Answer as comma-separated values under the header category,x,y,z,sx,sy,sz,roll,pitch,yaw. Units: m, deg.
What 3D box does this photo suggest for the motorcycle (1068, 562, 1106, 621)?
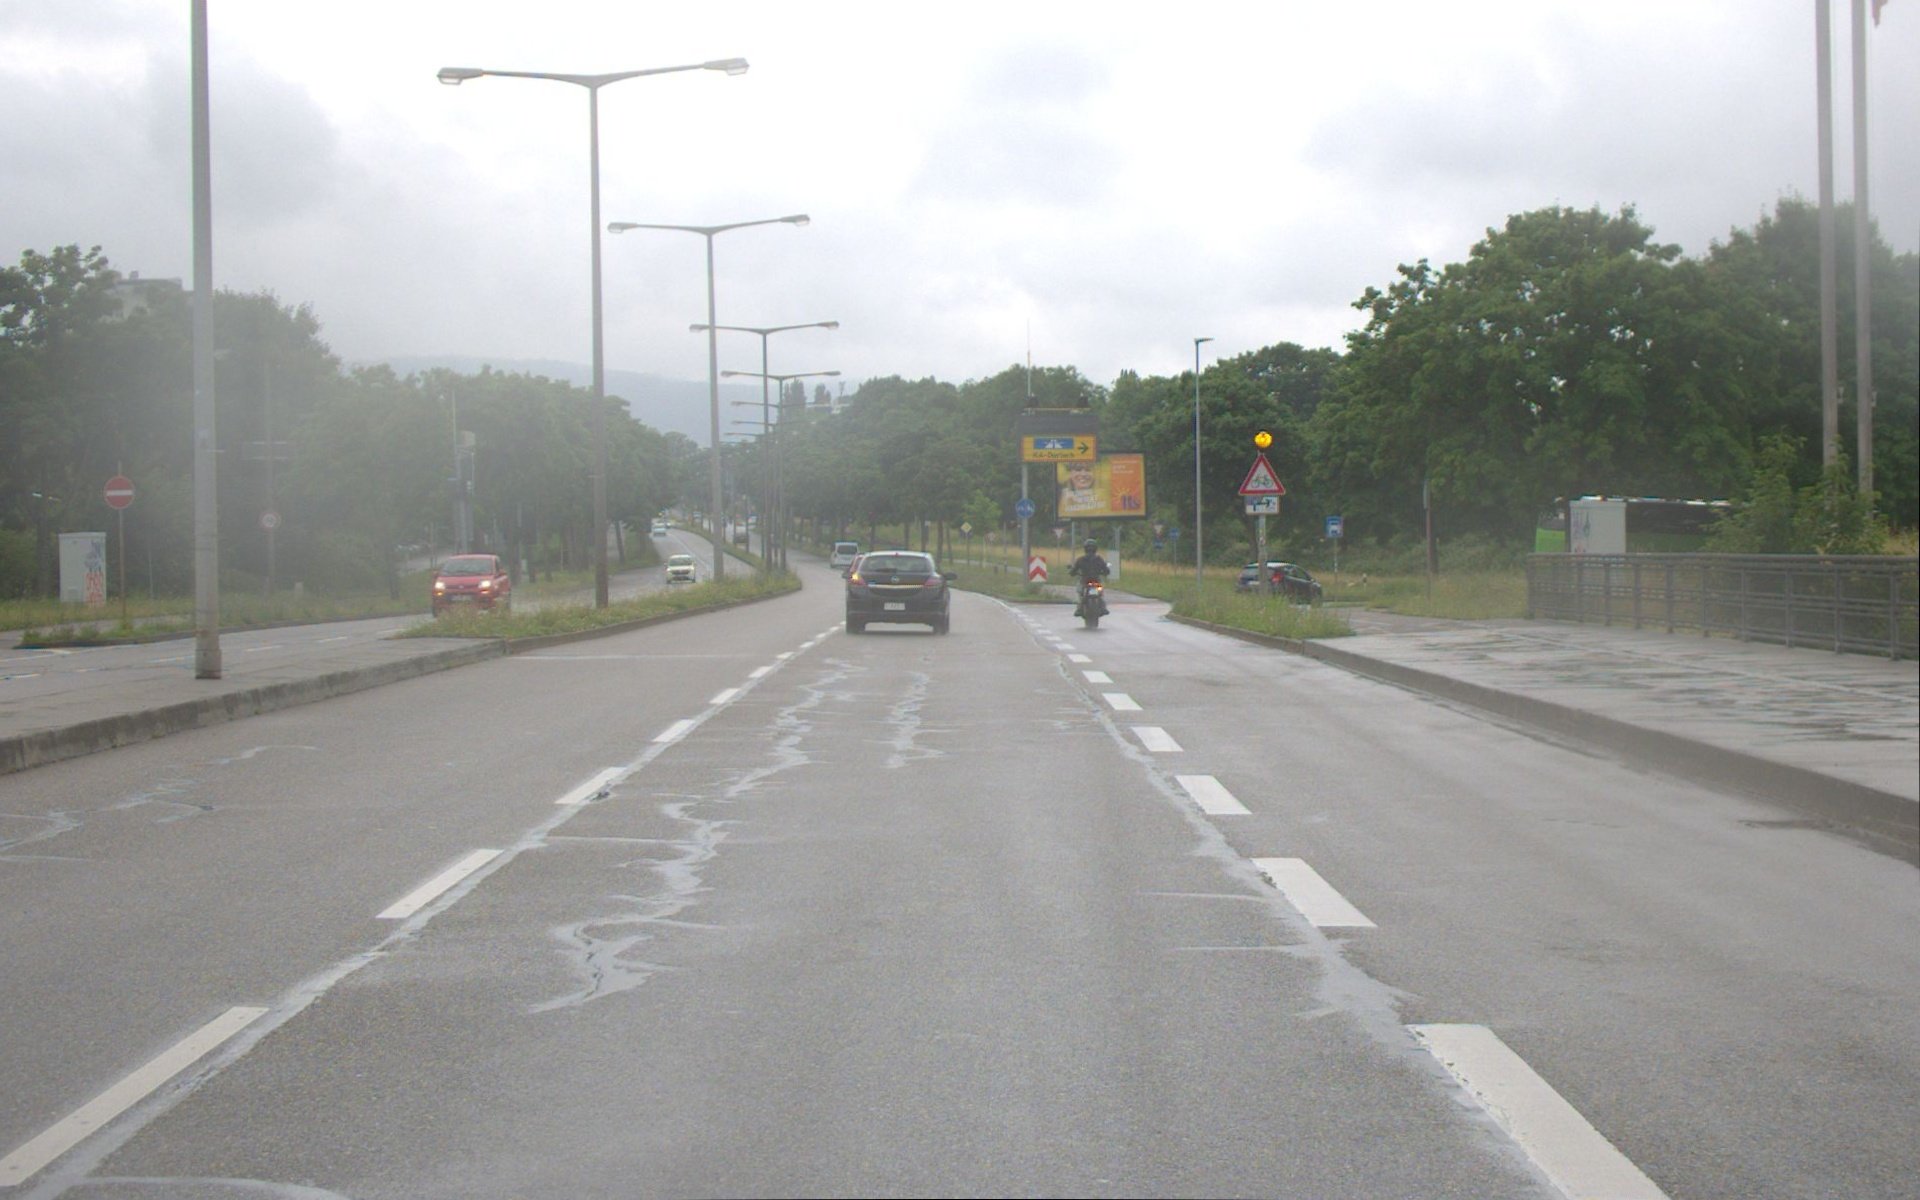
category,x,y,z,sx,sy,sz,roll,pitch,yaw
motorcycle,2.460,-0.170,66.760,0.601,1.089,1.732,1,1,-2

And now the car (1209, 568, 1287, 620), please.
category,x,y,z,sx,sy,sz,roll,pitch,yaw
car,9.244,-0.203,110.189,1.856,1.612,3.997,1,1,14

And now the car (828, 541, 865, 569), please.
category,x,y,z,sx,sy,sz,roll,pitch,yaw
car,-8.470,-3.338,256.035,2.515,2.045,5.294,-1,1,-5

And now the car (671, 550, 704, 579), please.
category,x,y,z,sx,sy,sz,roll,pitch,yaw
car,-16.392,-2.147,206.829,1.707,1.624,4.492,-3,1,-2

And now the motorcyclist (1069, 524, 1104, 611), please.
category,x,y,z,sx,sy,sz,roll,pitch,yaw
motorcyclist,2.453,-0.635,66.731,0.601,1.684,0.860,1,1,-2

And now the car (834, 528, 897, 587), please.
category,x,y,z,sx,sy,sz,roll,pitch,yaw
car,-3.056,-1.370,111.219,1.993,1.873,4.000,1,1,-1

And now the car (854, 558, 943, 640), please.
category,x,y,z,sx,sy,sz,roll,pitch,yaw
car,-1.079,-0.039,59.193,1.463,1.324,3.758,1,1,-2

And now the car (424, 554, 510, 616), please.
category,x,y,z,sx,sy,sz,roll,pitch,yaw
car,-12.397,-0.394,86.607,1.660,1.443,3.557,-2,1,-1

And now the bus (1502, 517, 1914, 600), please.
category,x,y,z,sx,sy,sz,roll,pitch,yaw
bus,26.251,-1.442,120.489,14.539,2.670,2.764,1,1,-17
